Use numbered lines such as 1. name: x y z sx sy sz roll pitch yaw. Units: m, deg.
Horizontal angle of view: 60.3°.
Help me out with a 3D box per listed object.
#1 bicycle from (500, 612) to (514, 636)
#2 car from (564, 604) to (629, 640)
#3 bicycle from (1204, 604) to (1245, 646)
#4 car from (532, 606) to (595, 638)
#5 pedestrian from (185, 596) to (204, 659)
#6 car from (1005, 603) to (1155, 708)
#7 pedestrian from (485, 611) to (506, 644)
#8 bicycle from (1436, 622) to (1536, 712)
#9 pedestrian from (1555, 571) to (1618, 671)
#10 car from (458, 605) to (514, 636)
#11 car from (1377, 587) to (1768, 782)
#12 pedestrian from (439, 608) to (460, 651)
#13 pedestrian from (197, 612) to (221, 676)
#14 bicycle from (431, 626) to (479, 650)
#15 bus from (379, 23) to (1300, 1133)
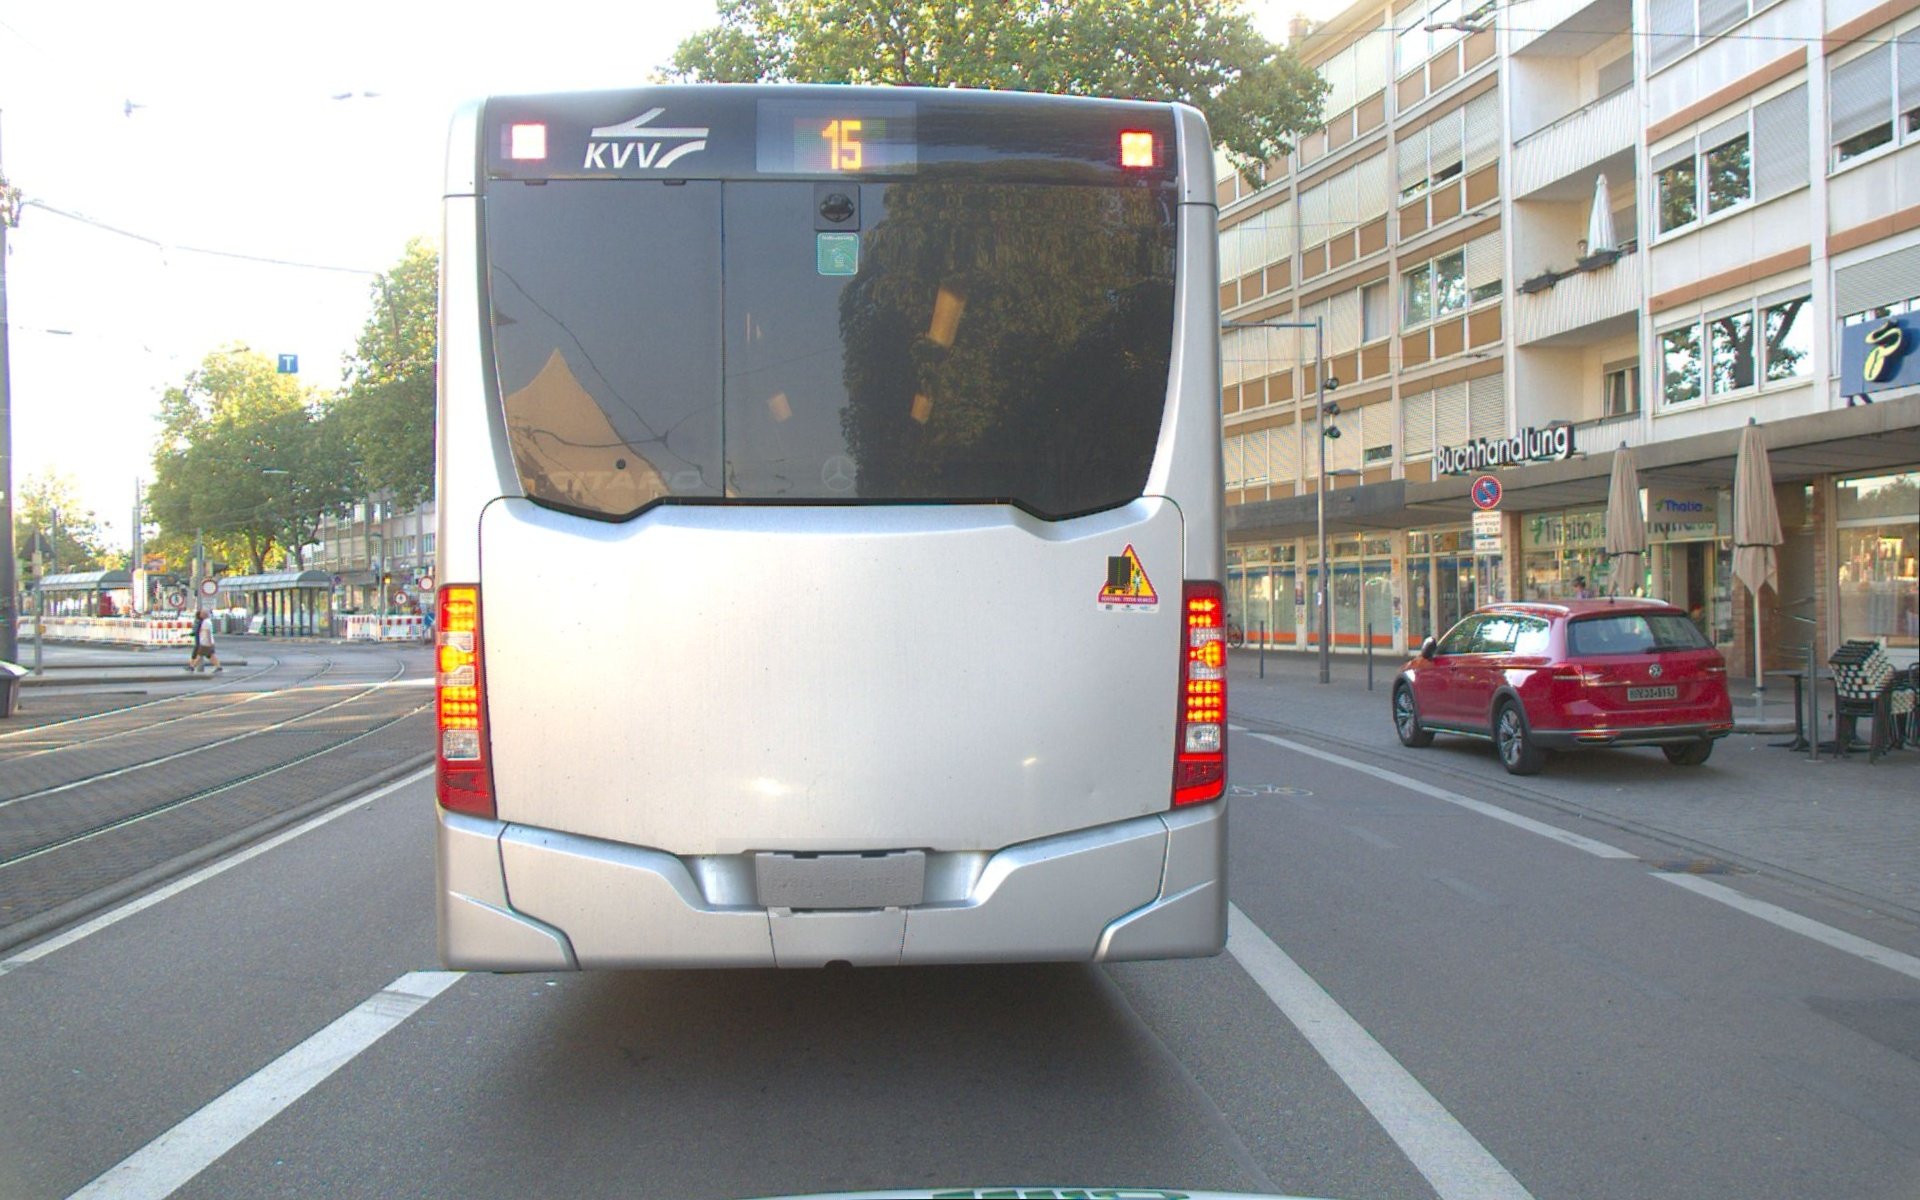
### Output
1. bicycle: -23.170 1.215 84.562 0.500 1.232 2.079 -1 0 -21
2. car: -17.014 1.013 77.381 1.650 1.542 3.367 -5 3 -37
3. bicycle: 7.272 0.688 45.544 0.431 1.111 1.453 -3 1 -20
4. car: -19.338 1.074 80.662 1.652 1.419 3.364 -5 3 -39
5. pedestrian: -18.676 0.669 40.343 0.403 1.530 0.513 -1 0 -24
6. car: 1.775 0.801 25.728 1.768 1.499 4.068 0 0 -4
7. pedestrian: -18.648 1.093 66.375 0.766 1.326 0.590 -1 0 -22
8. bicycle: 6.880 0.852 21.716 0.502 1.089 1.657 -3 0 -10
9. pedestrian: 10.160 0.335 26.830 0.627 1.579 0.806 -1 0 -8
10. car: -25.113 1.098 87.632 1.651 1.494 3.365 -5 3 -38
11. car: 5.683 0.702 16.052 1.744 1.522 4.563 -3 0 -5
12. pedestrian: -20.858 1.211 67.586 0.706 1.755 0.399 -1 0 -5
13. pedestrian: -18.138 1.049 39.952 0.513 1.530 0.589 -1 0 -23
14. bicycle: -20.804 1.567 68.104 1.804 0.959 0.463 -1 0 -5
15. bus: -0.558 -0.052 9.870 2.605 3.153 10.210 -1 0 -3
